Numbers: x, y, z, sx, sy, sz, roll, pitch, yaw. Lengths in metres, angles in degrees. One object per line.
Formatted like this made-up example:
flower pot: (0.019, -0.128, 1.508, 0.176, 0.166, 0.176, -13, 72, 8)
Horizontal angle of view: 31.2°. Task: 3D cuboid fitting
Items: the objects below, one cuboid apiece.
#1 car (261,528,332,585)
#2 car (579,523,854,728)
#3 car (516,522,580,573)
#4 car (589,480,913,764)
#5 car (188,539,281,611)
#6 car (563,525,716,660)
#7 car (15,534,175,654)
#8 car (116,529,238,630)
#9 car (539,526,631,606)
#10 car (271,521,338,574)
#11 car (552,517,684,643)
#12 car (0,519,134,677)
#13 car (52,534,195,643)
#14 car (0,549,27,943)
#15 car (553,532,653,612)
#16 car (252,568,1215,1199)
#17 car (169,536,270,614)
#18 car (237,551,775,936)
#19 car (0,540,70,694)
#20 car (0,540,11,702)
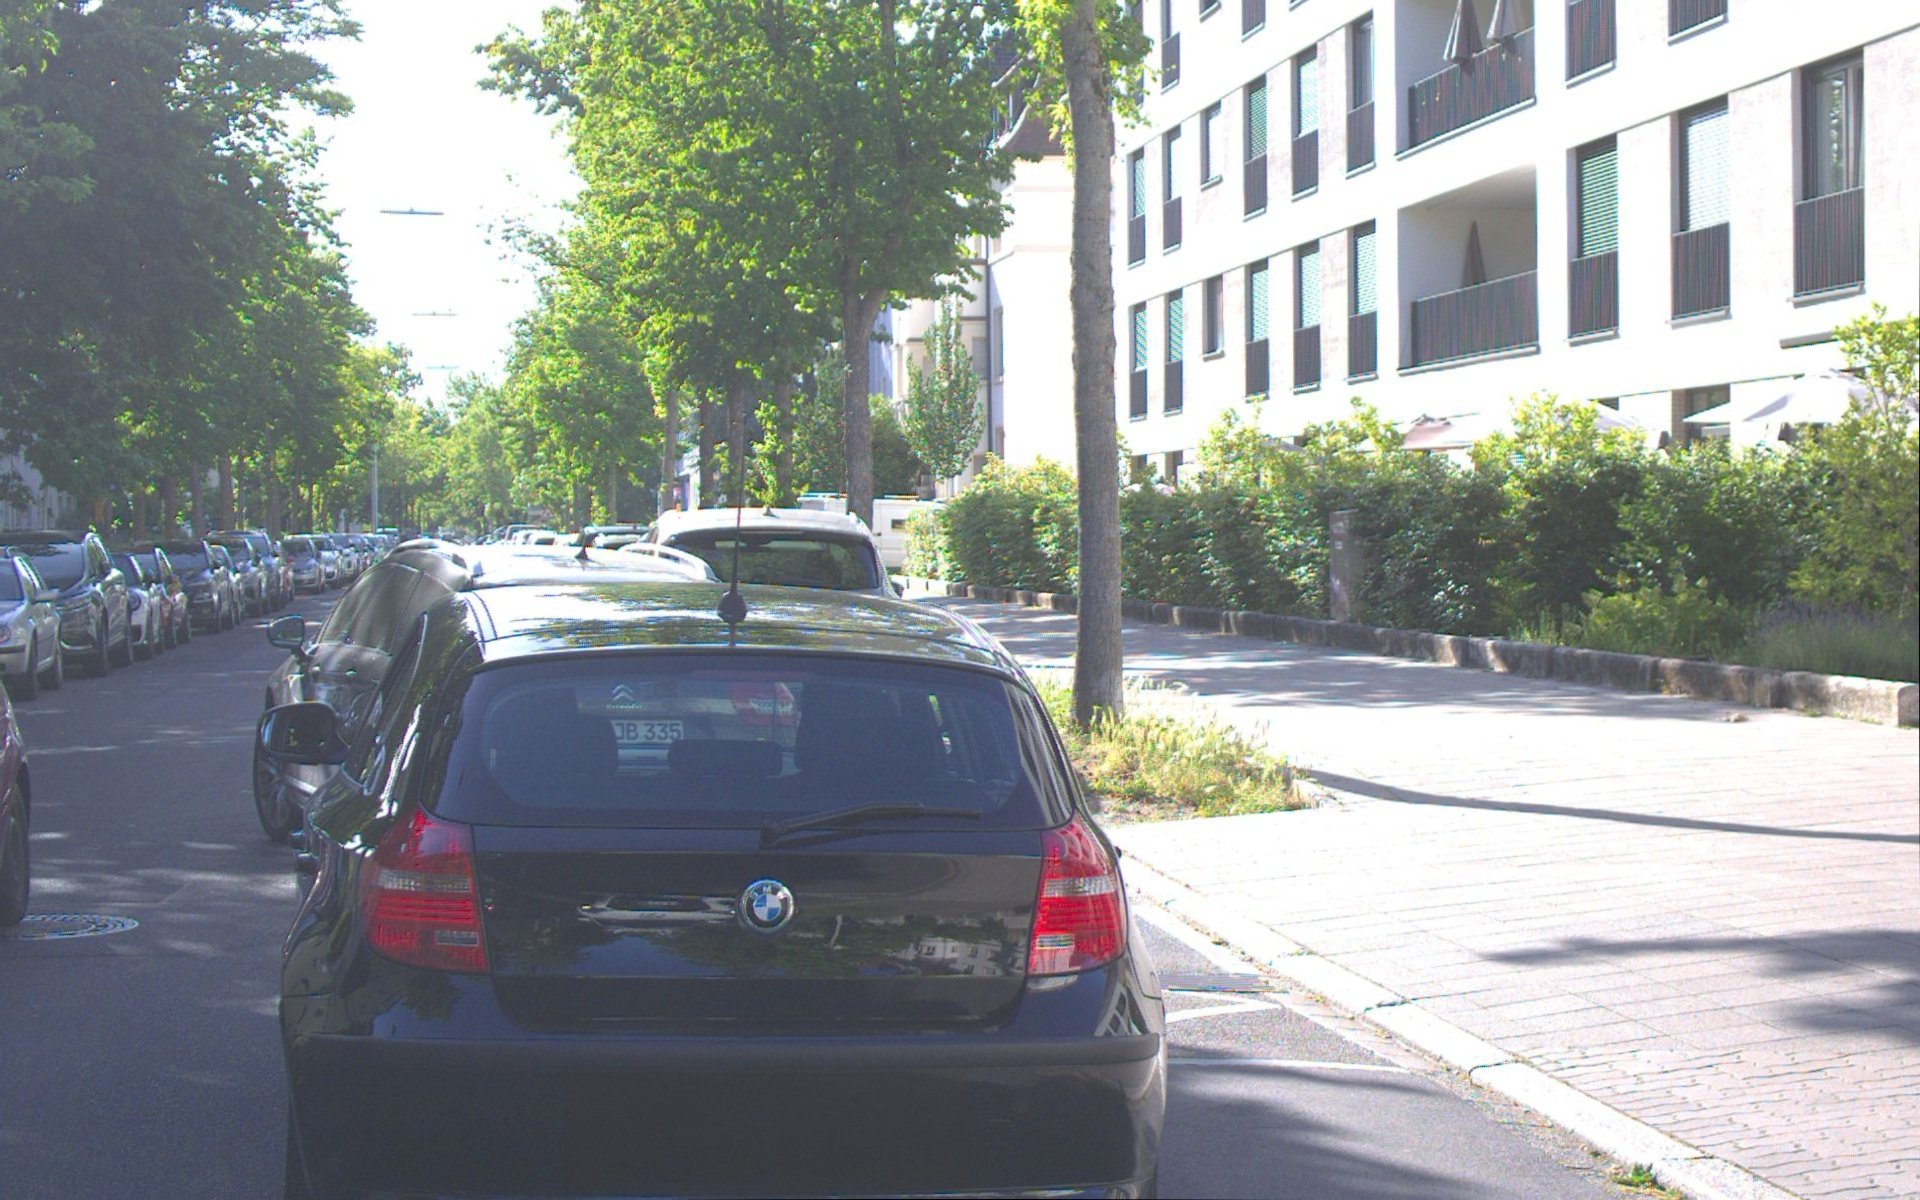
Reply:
car: (-17.309, -1.155, 89.751, 1.612, 1.387, 3.867, -2, 1, -8)
car: (-2.025, 0.146, 27.619, 1.693, 1.518, 4.001, 0, 1, -12)
car: (-12.282, -1.581, 102.570, 1.720, 1.475, 3.852, -1, 1, -5)
car: (-1.434, 0.099, 21.951, 1.847, 1.625, 4.411, 0, 1, -6)
car: (-14.944, -0.535, 70.964, 1.612, 1.387, 3.867, -2, 1, -8)
car: (-3.952, -0.124, 41.928, 1.720, 1.523, 4.001, 1, 1, -7)
car: (-11.262, -0.115, 44.966, 1.612, 1.447, 3.867, -2, 1, -8)
car: (-12.803, -0.366, 56.387, 1.612, 1.537, 3.867, -2, 1, -8)
car: (-7.388, -0.687, 67.615, 1.720, 1.475, 3.852, 1, 1, -7)
car: (-18.117, -1.459, 95.113, 1.612, 1.387, 3.867, -2, 1, -8)
car: (-4.798, -0.310, 47.876, 1.720, 1.635, 3.852, 1, 1, -7)
car: (-10.492, -0.061, 39.313, 1.612, 1.673, 4.235, -2, 1, -8)
car: (-12.009, -0.196, 49.519, 1.612, 1.447, 3.867, -2, 1, -8)
car: (-4.141, 0.577, 11.391, 1.505, 1.421, 3.178, -1, 2, -6)
car: (-6.558, -0.537, 62.895, 1.720, 1.374, 3.852, 1, 1, -7)
car: (-0.667, 0.668, 7.621, 1.649, 1.392, 3.412, -1, 2, -10)
car: (-14.134, -0.505, 65.752, 1.612, 1.387, 3.867, -2, 1, -8)
car: (-2.160, 0.522, 15.399, 1.649, 1.420, 4.002, -2, 2, -18)
car: (-9.829, 0.151, 33.914, 1.612, 1.422, 3.727, -2, 1, -8)
car: (-9.075, 0.240, 28.875, 1.612, 1.422, 4.059, -2, 1, -8)
